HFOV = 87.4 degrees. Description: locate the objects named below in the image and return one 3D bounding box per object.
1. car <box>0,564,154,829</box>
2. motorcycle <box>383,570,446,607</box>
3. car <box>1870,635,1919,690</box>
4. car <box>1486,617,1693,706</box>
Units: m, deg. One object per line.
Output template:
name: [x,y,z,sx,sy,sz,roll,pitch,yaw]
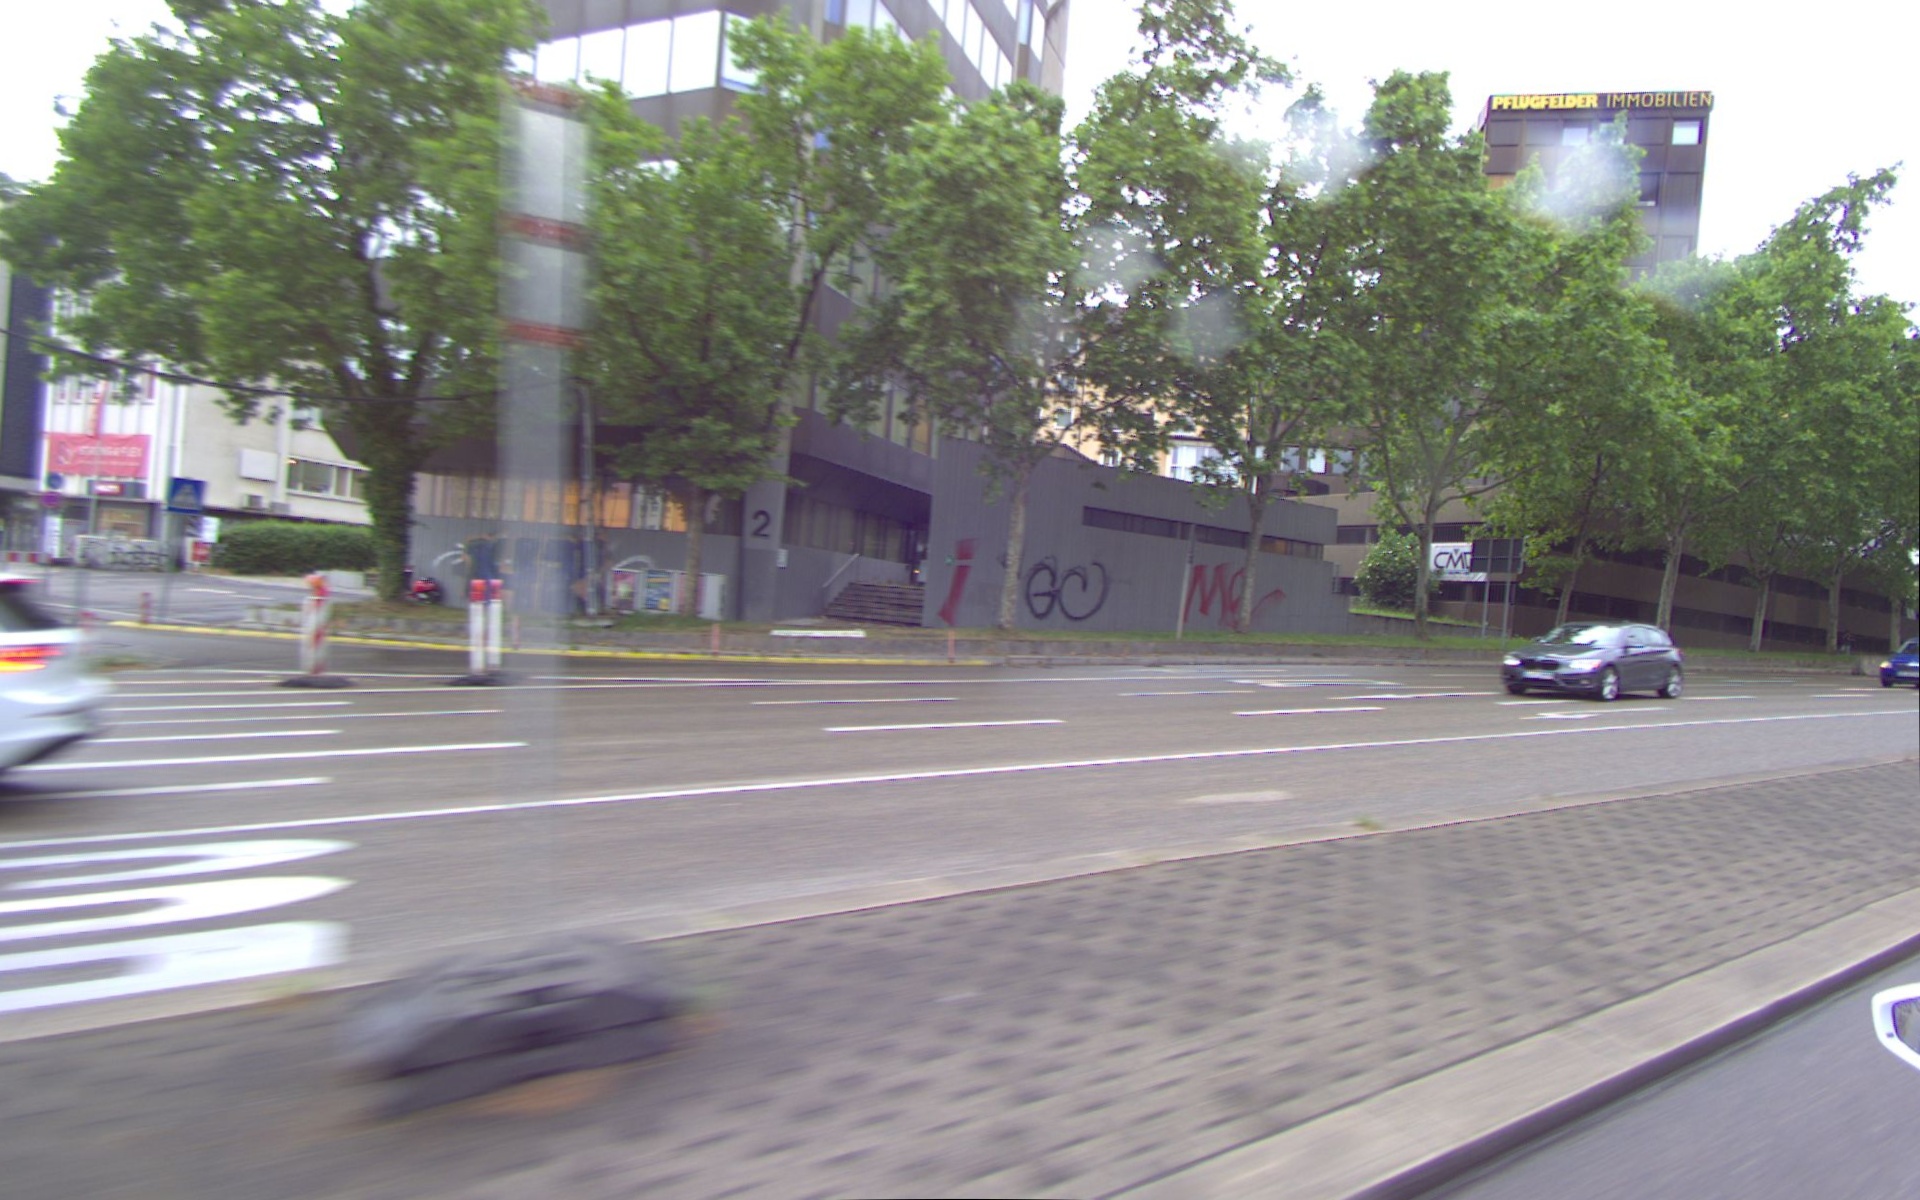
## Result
car: [-7.310,0.498,5.464,4.309,1.480,1.752,1,0,-31]
motorcycle: [-16.908,-0.372,31.126,2.142,1.051,0.565,3,1,26]
car: [28.850,1.850,29.759,4.018,1.493,1.601,2,0,-29]
car: [12.041,1.099,19.133,4.296,1.468,1.795,1,0,-35]
